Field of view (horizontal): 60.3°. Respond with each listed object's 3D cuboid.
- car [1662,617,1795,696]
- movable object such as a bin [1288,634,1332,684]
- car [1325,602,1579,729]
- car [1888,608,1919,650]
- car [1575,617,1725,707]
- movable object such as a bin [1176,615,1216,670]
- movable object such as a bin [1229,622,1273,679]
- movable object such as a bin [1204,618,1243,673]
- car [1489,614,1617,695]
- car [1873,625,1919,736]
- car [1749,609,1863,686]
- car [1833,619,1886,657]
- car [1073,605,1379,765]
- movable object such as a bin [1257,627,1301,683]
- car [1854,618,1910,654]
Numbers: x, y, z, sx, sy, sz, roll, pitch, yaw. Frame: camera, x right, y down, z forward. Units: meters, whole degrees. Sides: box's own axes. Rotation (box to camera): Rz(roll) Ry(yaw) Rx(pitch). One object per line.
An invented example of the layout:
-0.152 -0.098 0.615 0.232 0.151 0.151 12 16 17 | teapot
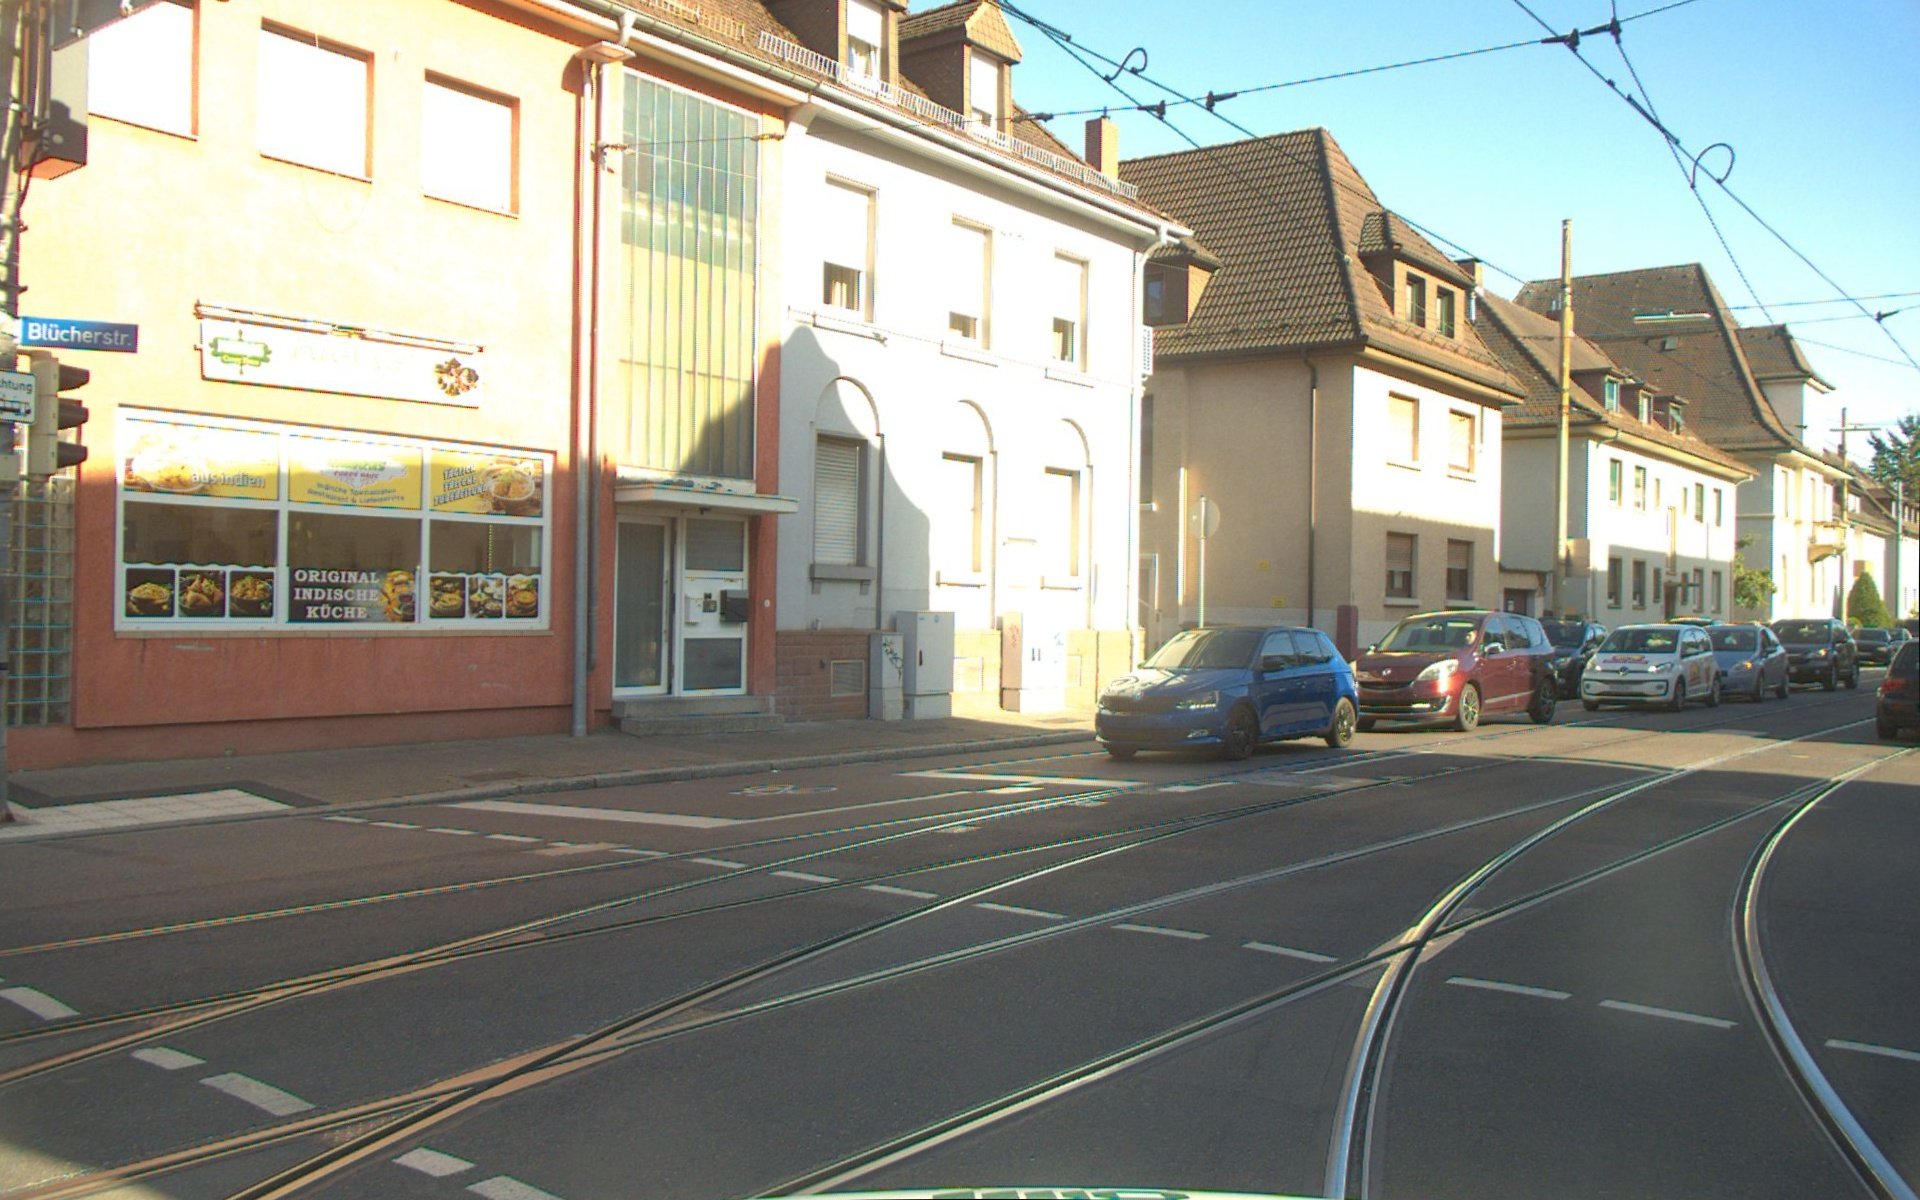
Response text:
15.461 1.108 33.184 1.591 1.486 4.058 -1 -2 37 | car
7.183 1.210 33.959 0.647 0.961 0.580 4 2 37 | movable object such as a bin
7.151 0.894 23.718 1.712 1.639 4.687 -1 -2 41 | car
49.718 1.486 85.865 1.876 2.049 4.926 2 1 38 | car
12.228 1.064 29.209 1.557 1.486 3.596 -1 -2 38 | car
5.068 0.917 35.523 0.605 1.131 0.588 4 2 37 | movable object such as a bin
6.114 1.050 34.747 0.631 1.131 0.669 4 2 37 | movable object such as a bin
5.607 0.964 35.131 0.560 1.131 0.588 4 2 37 | movable object such as a bin
12.899 1.143 35.851 1.588 1.656 3.906 -1 -2 36 | car
13.999 1.094 23.024 1.688 1.427 3.989 1 0 37 | car
20.090 1.109 39.193 1.676 1.735 4.345 -2 -2 37 | car
37.612 1.548 69.115 1.633 1.503 4.238 0 0 33 | car
3.074 0.890 18.543 1.657 1.595 3.909 -2 -2 39 | car
6.623 1.129 34.323 0.605 1.098 0.669 4 2 37 | movable object such as a bin
41.529 1.607 74.440 1.649 1.503 3.819 2 1 37 | car
